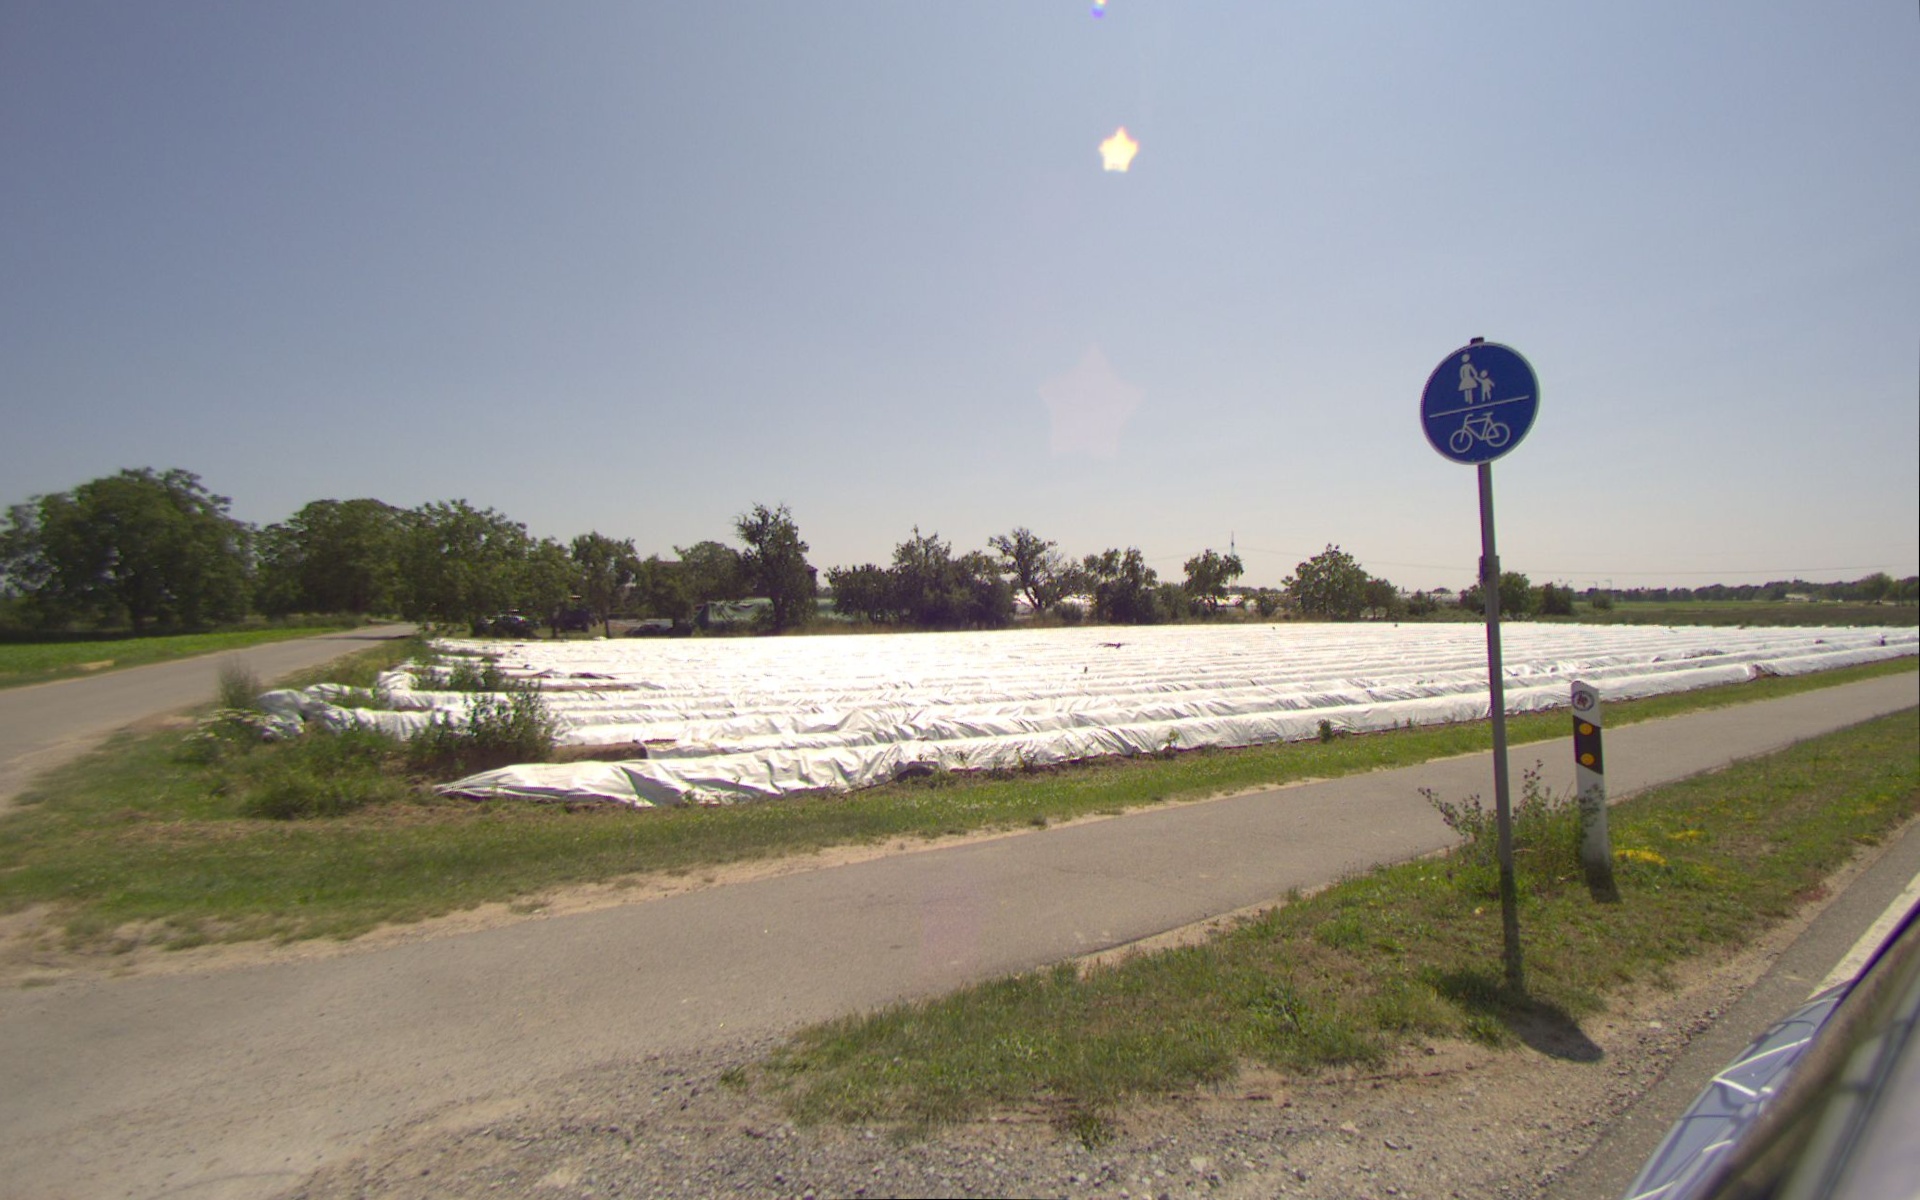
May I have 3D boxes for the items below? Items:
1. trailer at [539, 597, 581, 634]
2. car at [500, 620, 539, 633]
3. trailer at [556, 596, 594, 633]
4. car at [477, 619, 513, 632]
[{"bbox_3d":[-49.223,1.940,124.462,3.098,4.275,7.439,-1,-1,-35],"label":"trailer"},{"bbox_3d":[-42.176,2.553,96.927,3.215,1.213,1.297,0,-1,-32],"label":"car"},{"bbox_3d":[-37.629,1.424,98.724,3.191,3.336,7.454,-1,-1,-22],"label":"trailer"},{"bbox_3d":[-46.414,2.552,101.022,3.215,1.213,1.297,0,-1,-32],"label":"car"}]
